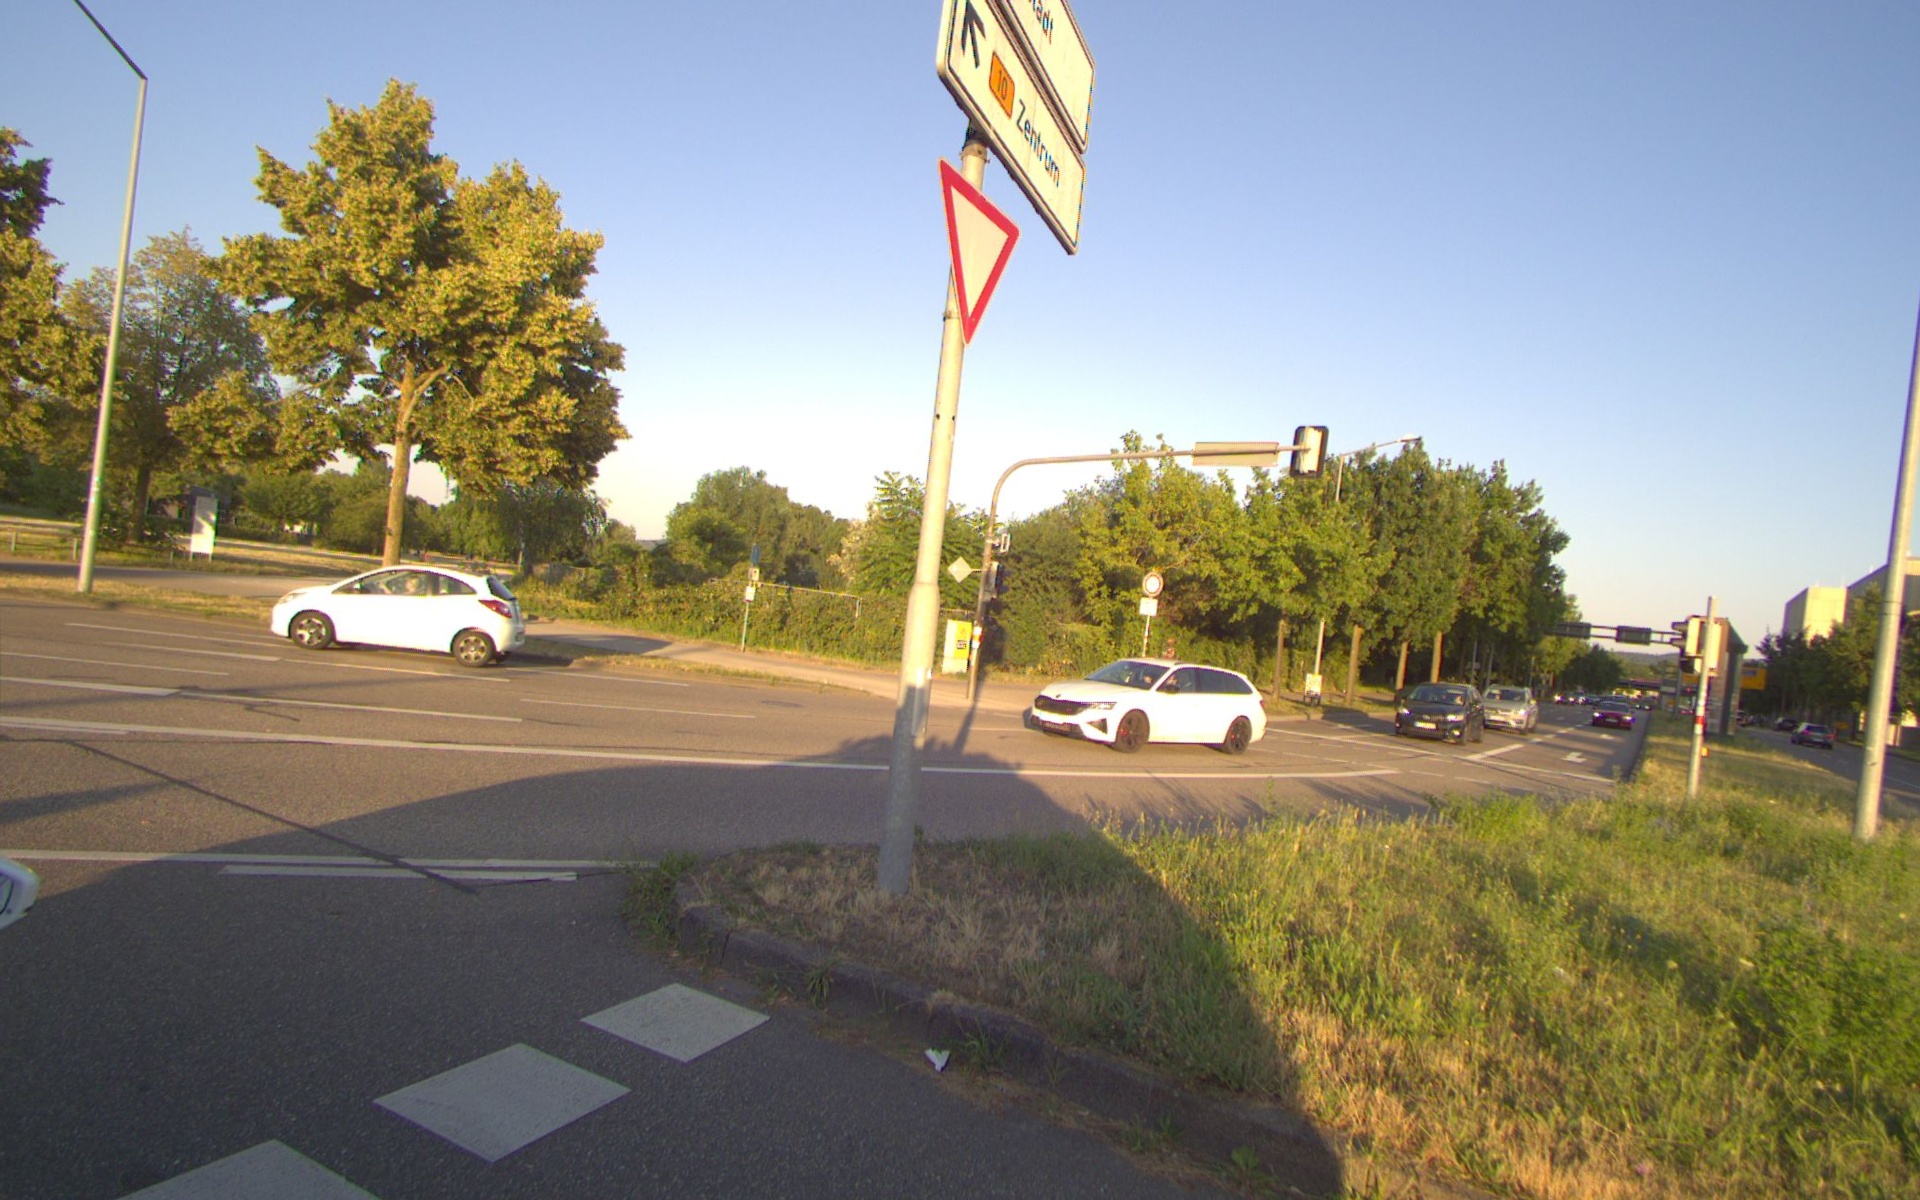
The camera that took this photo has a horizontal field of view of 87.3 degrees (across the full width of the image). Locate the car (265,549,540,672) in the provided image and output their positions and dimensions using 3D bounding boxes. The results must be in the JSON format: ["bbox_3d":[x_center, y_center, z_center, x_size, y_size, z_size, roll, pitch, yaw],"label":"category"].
[{"bbox_3d":[-8.776,0.189,16.132,3.431,1.460,1.550,7,-1,-14],"label":"car"}]

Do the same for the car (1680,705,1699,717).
[{"bbox_3d":[117.967,17.971,162.695,1.967,1.488,3.991,7,0,33],"label":"car"}]

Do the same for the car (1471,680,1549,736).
[{"bbox_3d":[21.239,4.167,38.759,1.893,1.775,4.907,6,-2,36],"label":"car"}]

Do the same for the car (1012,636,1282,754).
[{"bbox_3d":[3.158,1.599,16.417,4.515,1.466,1.708,8,0,-39],"label":"car"}]

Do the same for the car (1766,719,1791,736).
[{"bbox_3d":[89.286,13.859,109.744,1.725,1.506,4.121,7,-1,37],"label":"car"}]

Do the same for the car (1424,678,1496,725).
[{"bbox_3d":[22.400,4.551,44.967,1.884,1.730,4.927,7,-1,36],"label":"car"}]

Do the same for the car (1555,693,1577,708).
[{"bbox_3d":[63.247,10.514,104.998,1.594,1.324,3.707,5,-2,35],"label":"car"}]

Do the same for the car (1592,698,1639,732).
[{"bbox_3d":[36.205,6.346,55.494,1.817,1.477,4.568,7,-1,36],"label":"car"}]

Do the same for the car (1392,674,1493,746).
[{"bbox_3d":[13.636,3.080,28.283,1.775,1.652,4.445,6,-2,34],"label":"car"}]

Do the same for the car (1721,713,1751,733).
[{"bbox_3d":[75.974,12.025,98.521,1.788,1.543,4.125,7,0,32],"label":"car"}]

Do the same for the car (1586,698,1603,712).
[{"bbox_3d":[82.747,13.662,131.093,1.594,1.536,3.707,5,-2,35],"label":"car"}]

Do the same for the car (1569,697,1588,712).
[{"bbox_3d":[71.694,12.151,116.580,1.594,1.536,3.707,5,-2,35],"label":"car"}]

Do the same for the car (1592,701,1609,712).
[{"bbox_3d":[94.395,15.652,148.258,1.847,1.324,4.128,5,-2,35],"label":"car"}]

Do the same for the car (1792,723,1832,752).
[{"bbox_3d":[54.507,8.765,64.337,1.727,1.441,4.114,8,0,42],"label":"car"}]
